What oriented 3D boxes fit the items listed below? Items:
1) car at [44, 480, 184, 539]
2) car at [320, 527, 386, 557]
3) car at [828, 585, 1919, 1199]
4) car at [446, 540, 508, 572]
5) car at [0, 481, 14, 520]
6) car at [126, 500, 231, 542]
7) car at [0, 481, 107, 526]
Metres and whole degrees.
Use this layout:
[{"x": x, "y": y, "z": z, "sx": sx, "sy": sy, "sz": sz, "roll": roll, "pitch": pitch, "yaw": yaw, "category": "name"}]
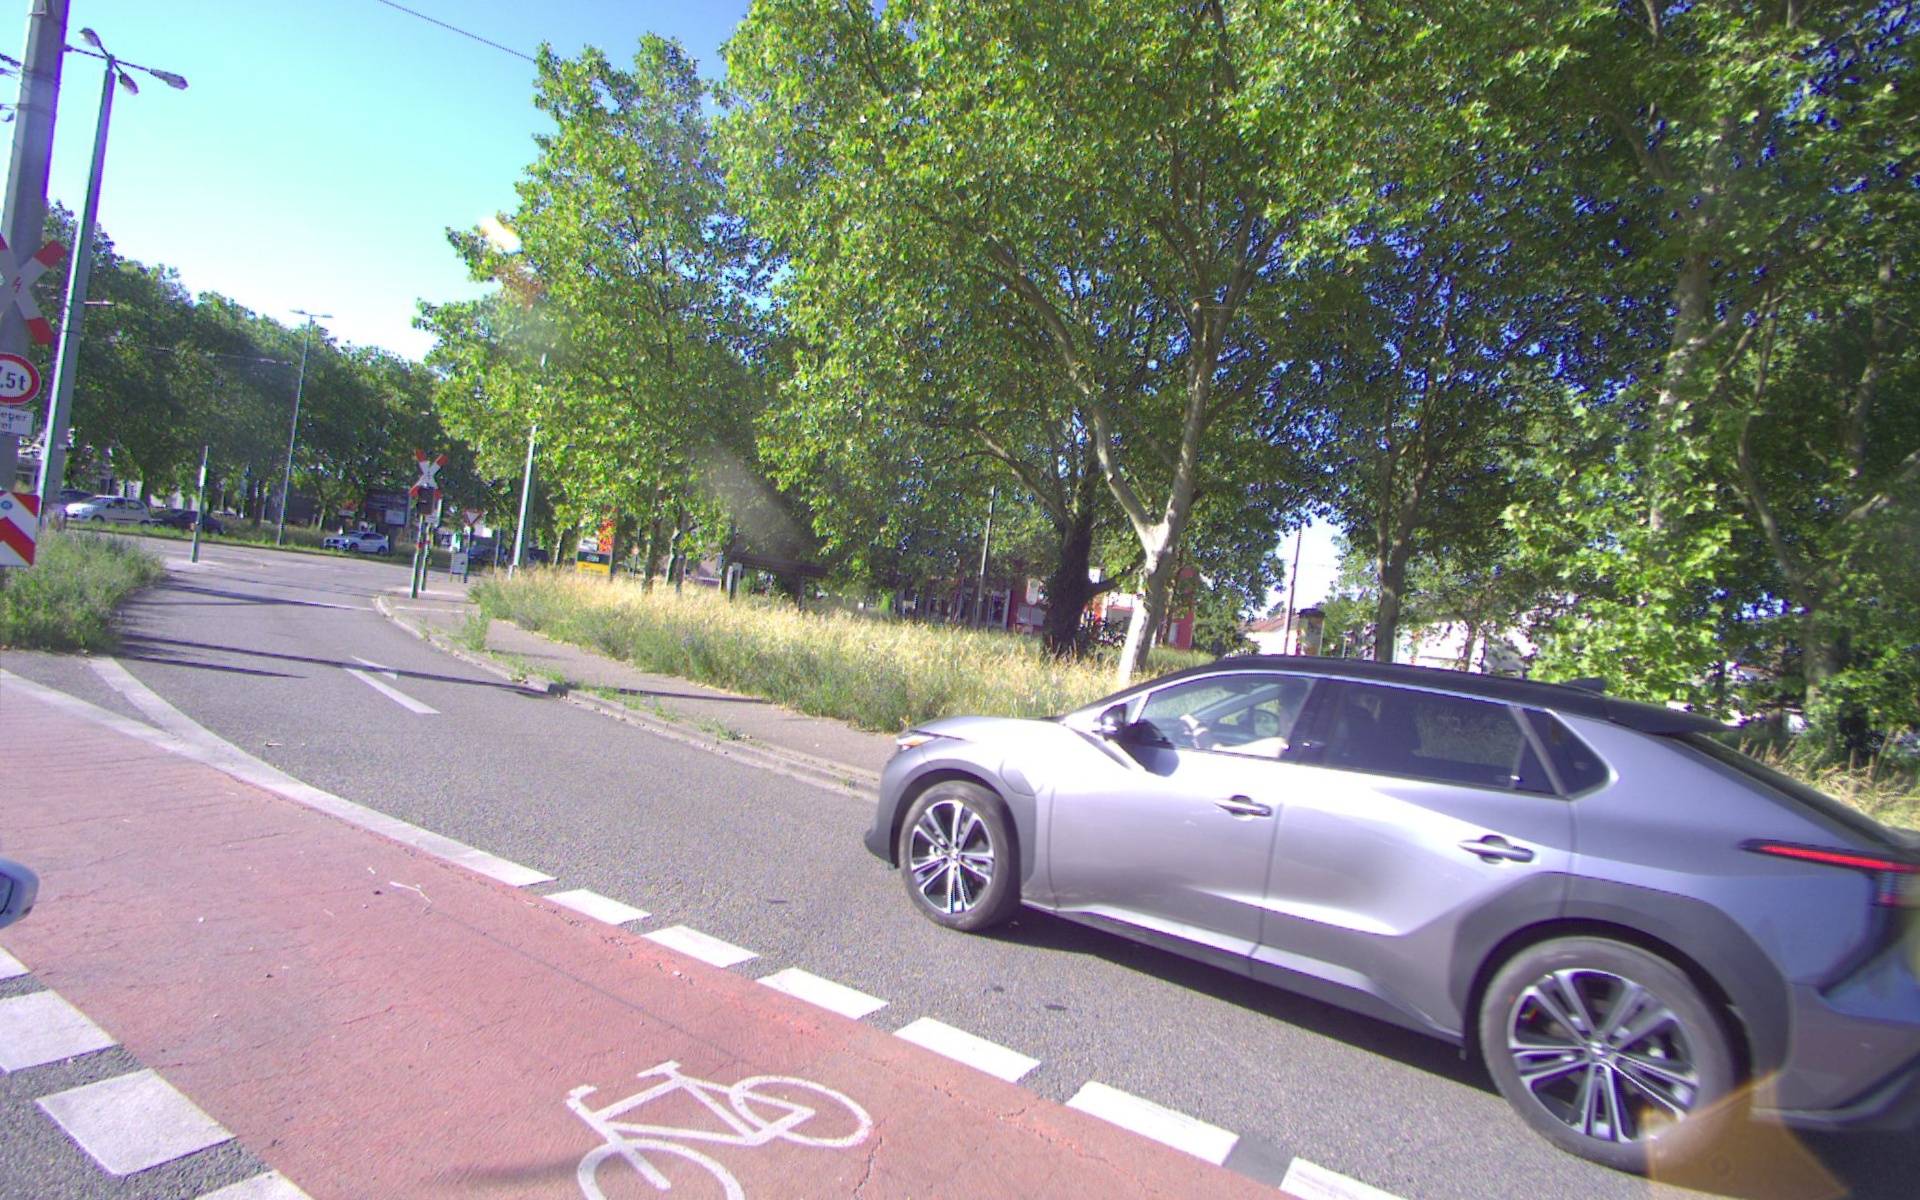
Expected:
[{"x": -40.472, "y": -4.285, "z": 48.299, "sx": 1.962, "sy": 2.038, "sz": 4.907, "roll": 7, "pitch": -1, "yaw": 9, "category": "car"}, {"x": -41.380, "y": -3.906, "z": 68.697, "sx": 1.563, "sy": 1.519, "sz": 4.002, "roll": 7, "pitch": -1, "yaw": 7, "category": "car"}, {"x": 1.653, "y": 1.029, "z": 4.853, "sx": 4.429, "sy": 1.650, "sz": 1.766, "roll": 7, "pitch": 0, "yaw": 37, "category": "car"}, {"x": -34.340, "y": -3.110, "z": 71.614, "sx": 1.821, "sy": 1.796, "sz": 4.217, "roll": 7, "pitch": -1, "yaw": 7, "category": "car"}, {"x": -41.046, "y": -4.321, "z": 40.576, "sx": 1.575, "sy": 1.549, "sz": 4.002, "roll": 7, "pitch": 0, "yaw": 9, "category": "car"}, {"x": -42.935, "y": -4.305, "z": 55.423, "sx": 1.661, "sy": 1.593, "sz": 4.528, "roll": 7, "pitch": -1, "yaw": 9, "category": "car"}, {"x": -44.013, "y": -4.648, "z": 48.859, "sx": 1.462, "sy": 1.589, "sz": 3.758, "roll": 7, "pitch": -1, "yaw": 9, "category": "car"}]
